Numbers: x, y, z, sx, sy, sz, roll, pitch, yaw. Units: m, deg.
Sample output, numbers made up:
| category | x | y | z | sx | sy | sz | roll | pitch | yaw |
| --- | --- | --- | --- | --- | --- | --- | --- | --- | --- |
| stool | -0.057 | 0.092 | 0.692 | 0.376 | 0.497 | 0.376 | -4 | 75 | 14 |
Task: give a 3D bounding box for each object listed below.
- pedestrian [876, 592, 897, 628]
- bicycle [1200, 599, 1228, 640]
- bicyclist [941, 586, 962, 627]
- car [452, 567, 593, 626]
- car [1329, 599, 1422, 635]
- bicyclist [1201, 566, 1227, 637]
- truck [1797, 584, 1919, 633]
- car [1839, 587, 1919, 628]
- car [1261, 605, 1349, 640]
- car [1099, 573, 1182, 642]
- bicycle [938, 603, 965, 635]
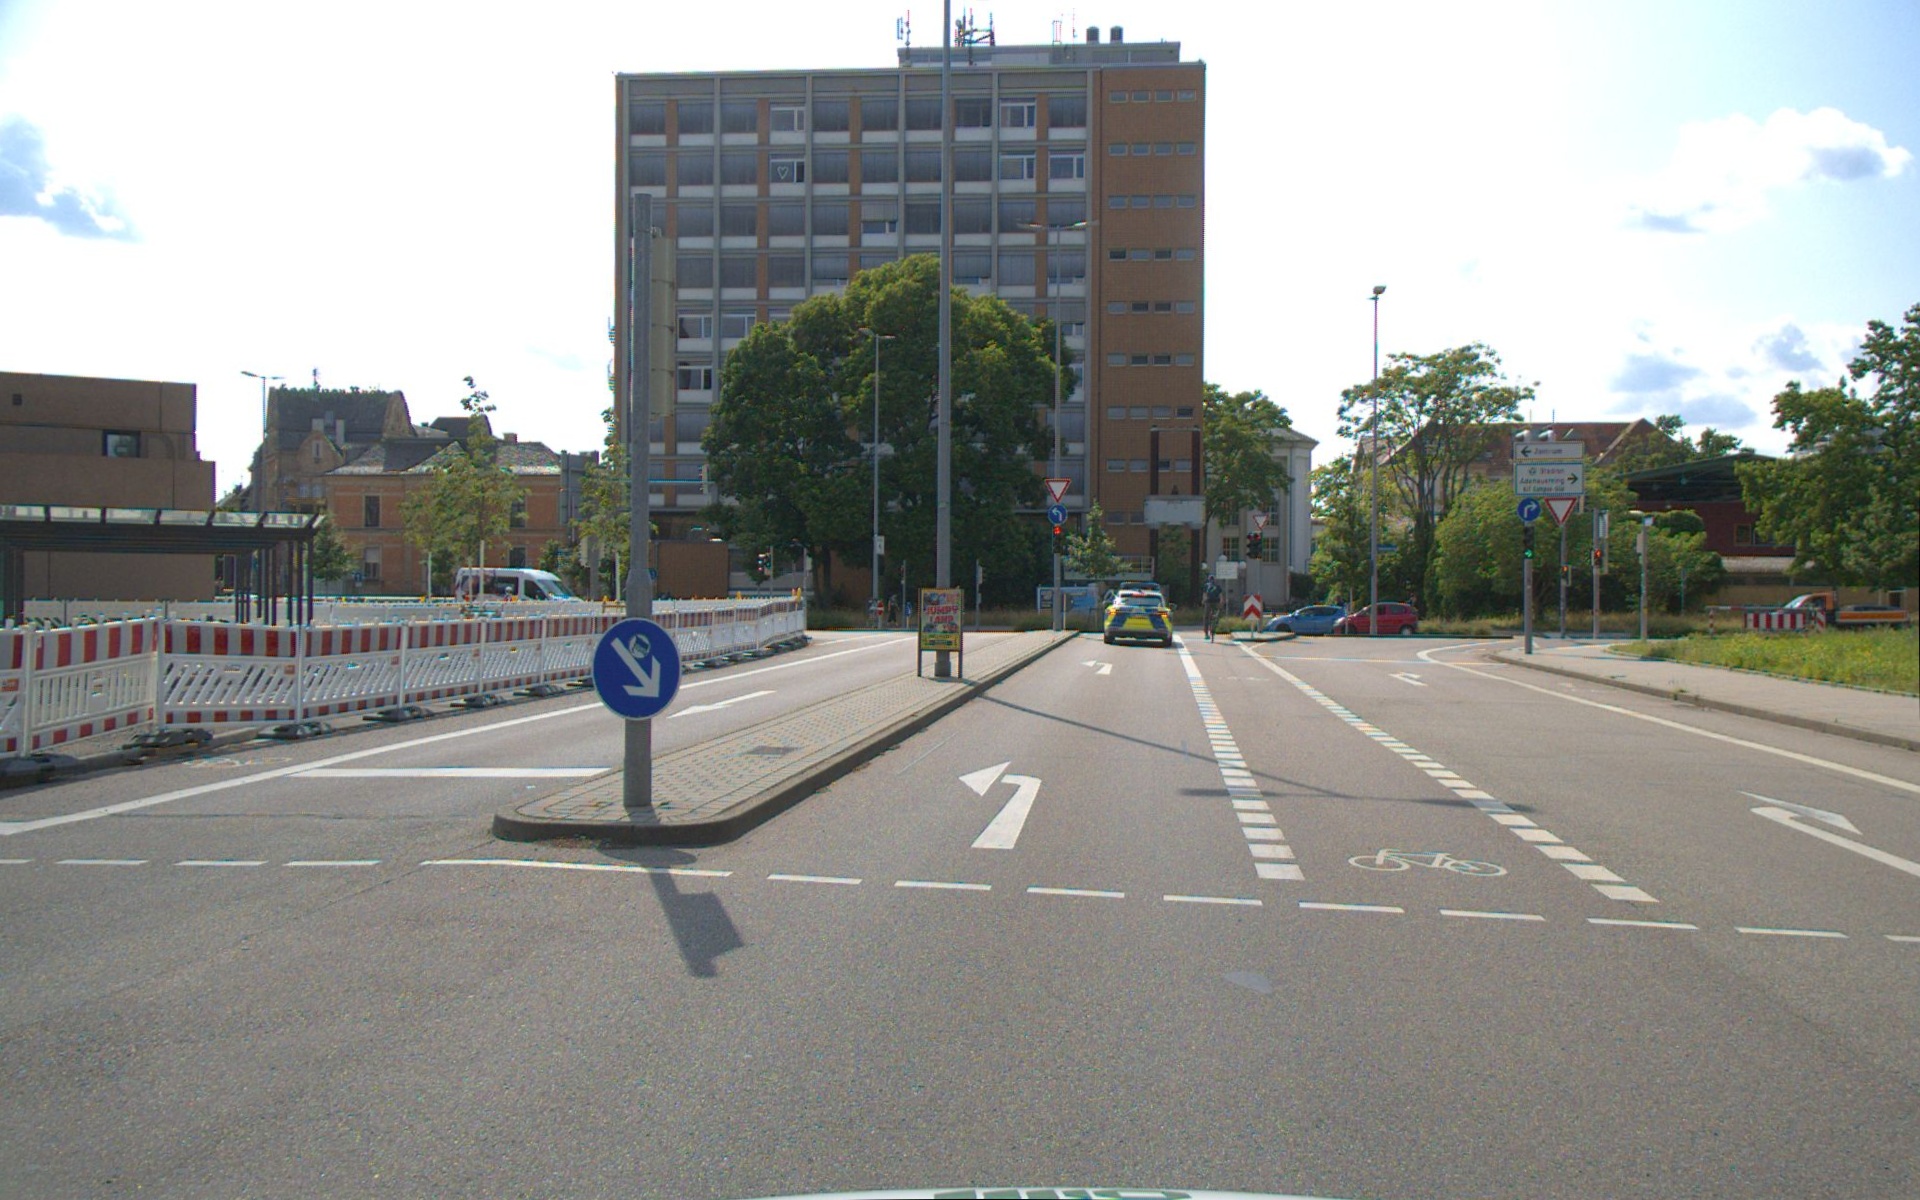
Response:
| category | x | y | z | sx | sy | sz | roll | pitch | yaw |
| --- | --- | --- | --- | --- | --- | --- | --- | --- | --- |
| pedestrian | -3.886 | 0.512 | 87.310 | 0.923 | 1.916 | 0.909 | 0 | 0 | 10 |
| bicycle | 7.300 | 0.538 | 47.538 | 0.705 | 1.103 | 2.192 | 0 | 1 | 6 |
| bicyclist | -0.321 | 0.244 | 61.021 | 0.620 | 1.496 | 0.840 | 0 | 1 | 10 |
| car | -18.039 | -0.122 | 68.150 | 5.460 | 2.359 | 2.300 | 0 | 0 | 26 |
| car | 17.417 | 0.720 | 69.305 | 3.646 | 1.482 | 1.627 | 0 | 0 | 19 |
| bicyclist | 7.309 | 0.042 | 47.609 | 0.703 | 2.008 | 0.840 | 0 | 1 | 6 |
| truck | 35.618 | 0.320 | 64.469 | 5.007 | 1.870 | 2.001 | 0 | 0 | 15 |
| car | 37.865 | 0.308 | 66.832 | 3.828 | 1.638 | 1.627 | 0 | 0 | 15 |
| car | 15.194 | 0.979 | 72.853 | 3.646 | 1.482 | 1.627 | 0 | 0 | 19 |
| car | 4.922 | 0.184 | 45.042 | 2.085 | 1.713 | 4.105 | 2 | 0 | 6 |
| bicycle | -0.311 | 0.688 | 61.061 | 0.620 | 1.103 | 2.193 | 0 | 1 | 10 |
